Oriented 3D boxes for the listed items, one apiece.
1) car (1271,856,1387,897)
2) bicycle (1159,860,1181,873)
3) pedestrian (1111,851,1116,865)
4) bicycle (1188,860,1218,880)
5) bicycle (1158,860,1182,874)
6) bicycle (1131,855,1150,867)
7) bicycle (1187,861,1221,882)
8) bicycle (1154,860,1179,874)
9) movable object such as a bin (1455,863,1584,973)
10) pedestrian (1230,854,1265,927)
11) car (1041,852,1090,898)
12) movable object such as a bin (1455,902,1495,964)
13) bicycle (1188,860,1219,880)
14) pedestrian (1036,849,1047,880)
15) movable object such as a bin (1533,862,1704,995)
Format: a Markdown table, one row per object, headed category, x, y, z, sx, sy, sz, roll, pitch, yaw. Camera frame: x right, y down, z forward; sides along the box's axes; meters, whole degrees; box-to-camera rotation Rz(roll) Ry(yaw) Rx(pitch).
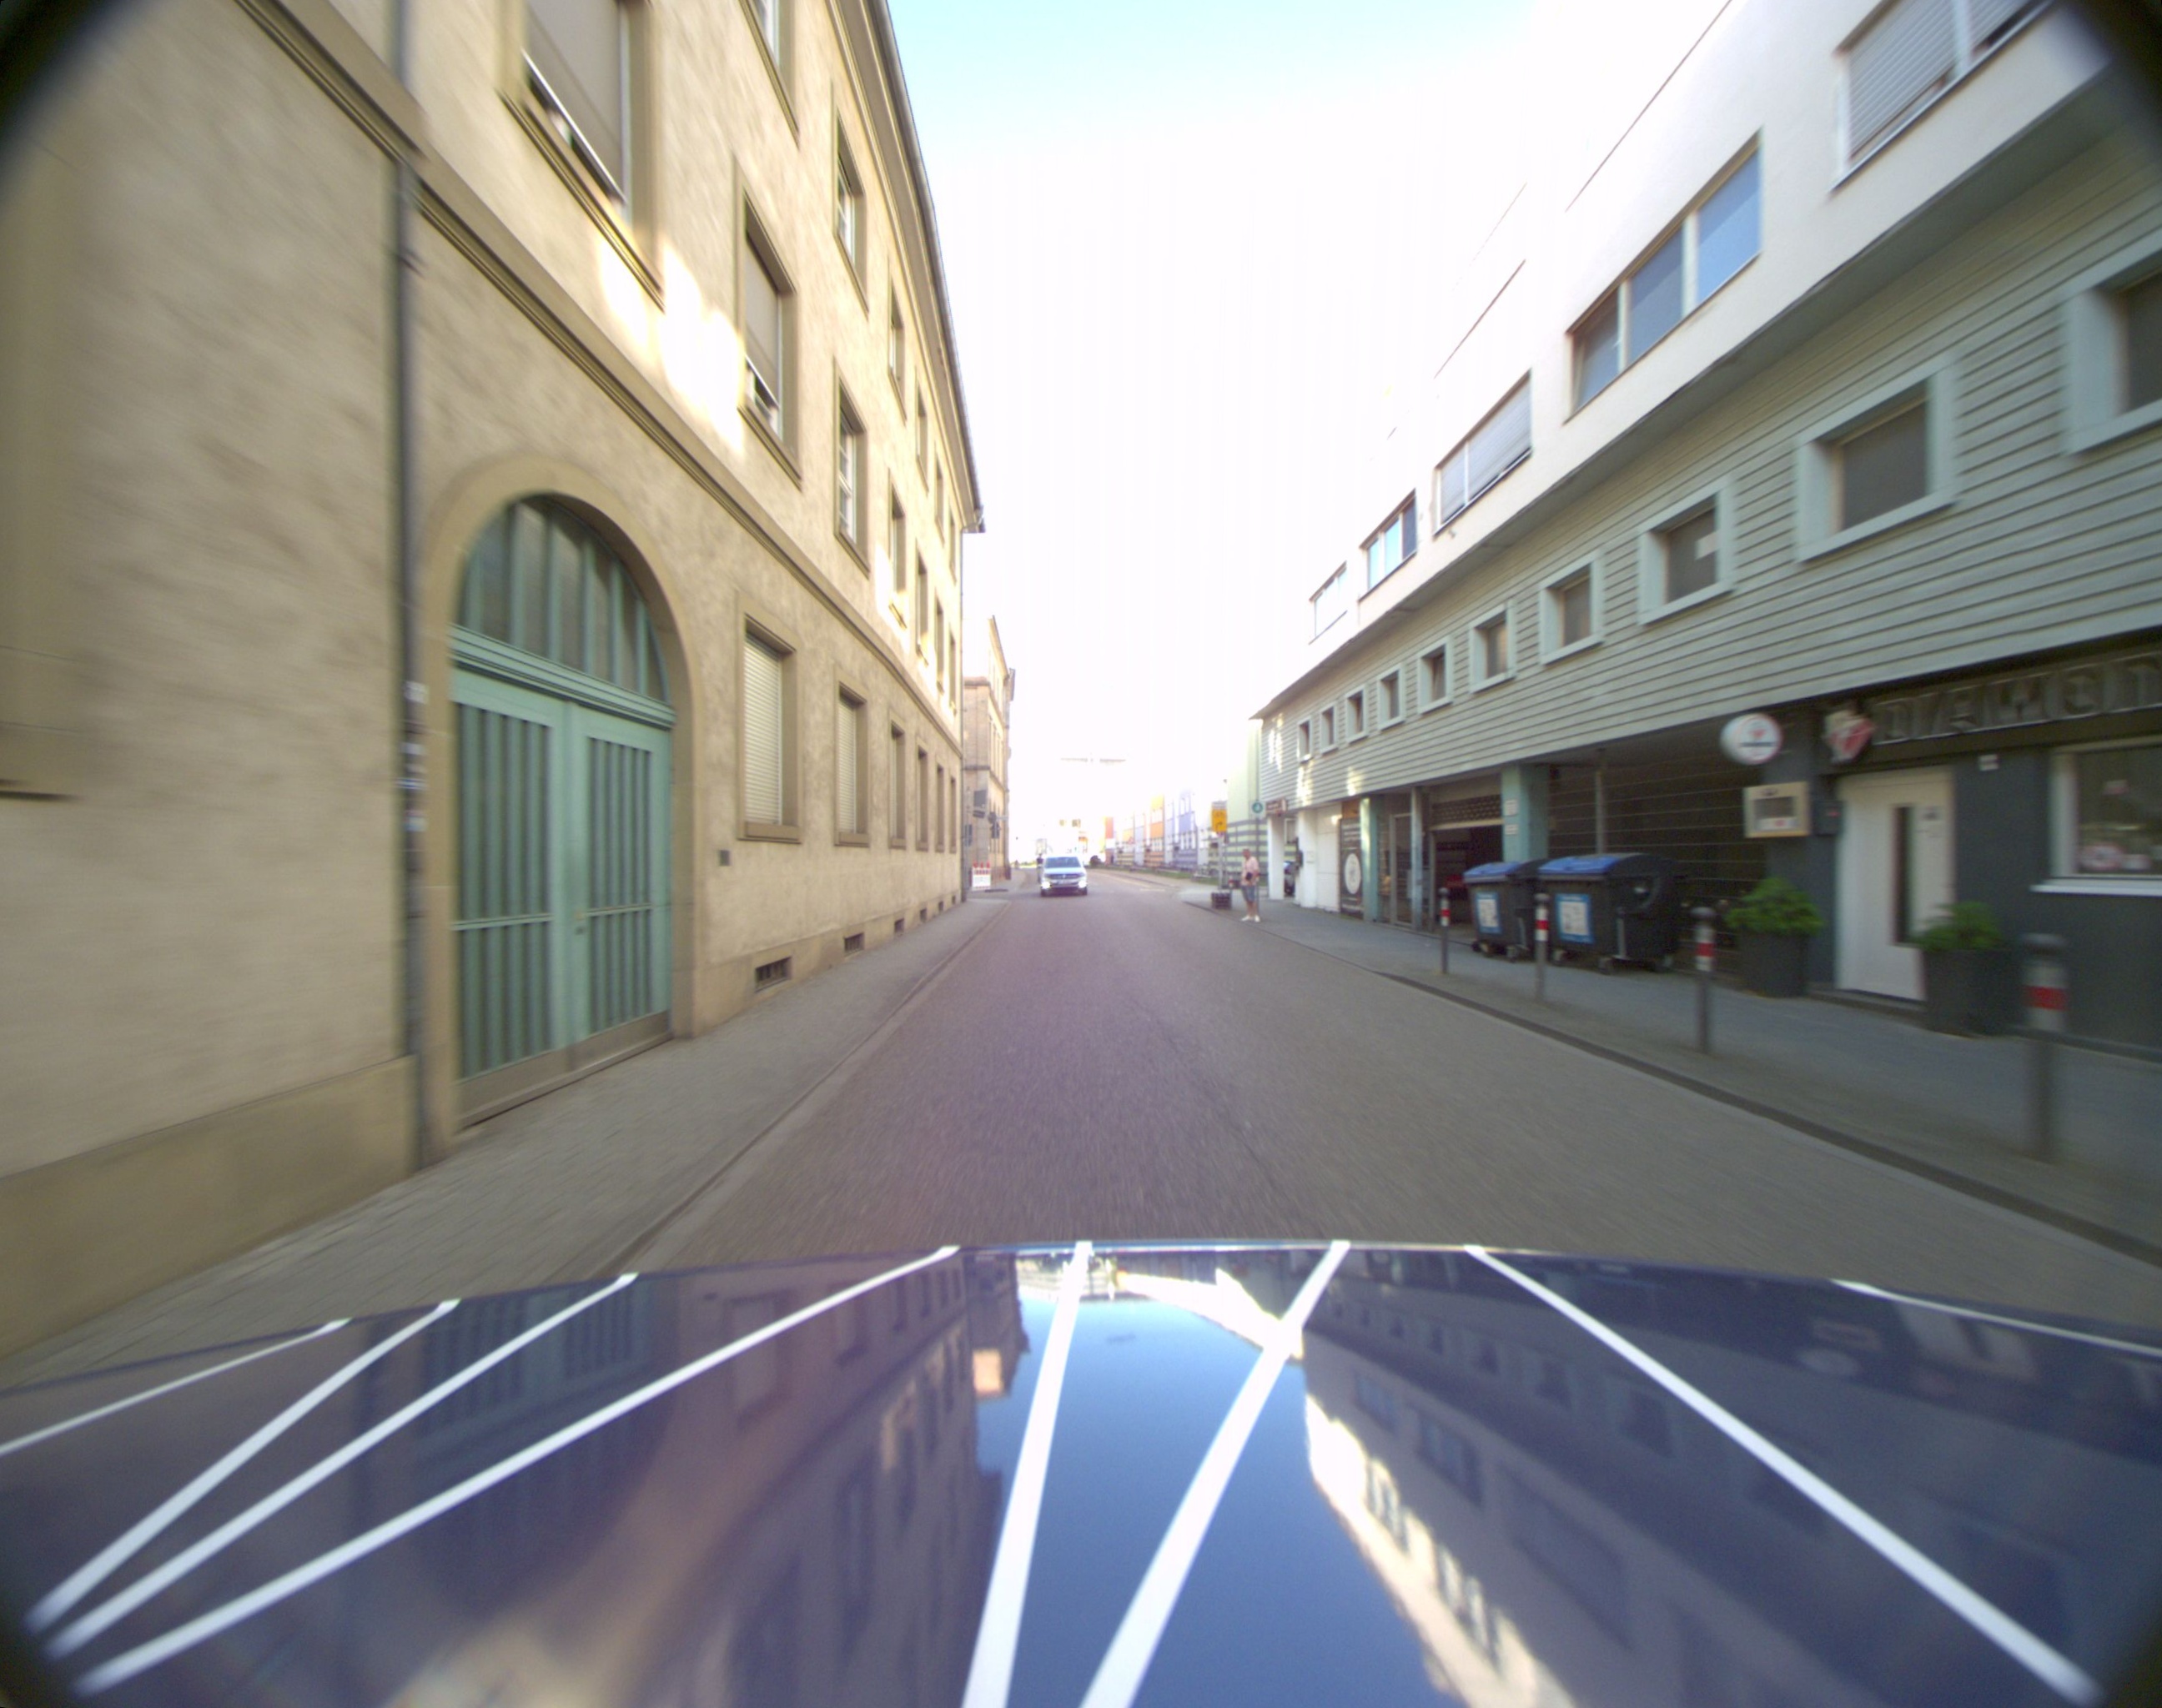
| category | x | y | z | sx | sy | sz | roll | pitch | yaw |
| --- | --- | --- | --- | --- | --- | --- | --- | --- | --- |
| car | 9.593 | 0.850 | 29.578 | 3.943 | 1.511 | 1.692 | 0 | 0 | -4 |
| bicycle | 7.134 | 1.009 | 61.098 | 1.658 | 0.940 | 0.388 | -4 | 1 | -2 |
| pedestrian | 3.945 | 0.514 | 92.016 | 0.612 | 1.641 | 0.447 | 0 | 1 | -8 |
| bicycle | 7.585 | 1.001 | 47.089 | 1.739 | 1.094 | 0.388 | -4 | 1 | -9 |
| bicycle | 6.989 | 1.014 | 59.836 | 1.803 | 0.940 | 0.388 | -4 | 1 | -2 |
| bicycle | 5.941 | 0.696 | 75.770 | 1.808 | 0.977 | 0.654 | -5 | 1 | -6 |
| bicycle | 7.311 | 1.050 | 45.238 | 1.821 | 1.094 | 0.749 | -4 | 1 | -3 |
| bicycle | 6.646 | 1.003 | 59.129 | 1.803 | 0.940 | 0.388 | -4 | 1 | -2 |
| movable object such as a bin | 6.261 | 0.874 | 10.954 | 0.971 | 1.462 | 1.474 | 0 | -1 | -2 |
| pedestrian | 3.881 | 0.832 | 17.729 | 0.494 | 1.660 | 0.627 | -3 | 1 | -14 |
| car | -0.596 | 0.761 | 29.853 | 1.683 | 1.568 | 4.242 | -3 | 0 | -1 |
| movable object such as a bin | 6.271 | 1.252 | 12.096 | 0.394 | 0.936 | 0.467 | 0 | 0 | -2 |
| bicycle | 7.520 | 0.989 | 46.682 | 1.739 | 1.094 | 0.388 | -4 | 1 | -9 |
| pedestrian | -2.551 | 0.674 | 48.764 | 0.677 | 1.928 | 0.858 | 0 | 1 | -3 |
| movable object such as a bin | 6.528 | 0.856 | 9.334 | 1.125 | 1.511 | 1.342 | 0 | -1 | -2 |
